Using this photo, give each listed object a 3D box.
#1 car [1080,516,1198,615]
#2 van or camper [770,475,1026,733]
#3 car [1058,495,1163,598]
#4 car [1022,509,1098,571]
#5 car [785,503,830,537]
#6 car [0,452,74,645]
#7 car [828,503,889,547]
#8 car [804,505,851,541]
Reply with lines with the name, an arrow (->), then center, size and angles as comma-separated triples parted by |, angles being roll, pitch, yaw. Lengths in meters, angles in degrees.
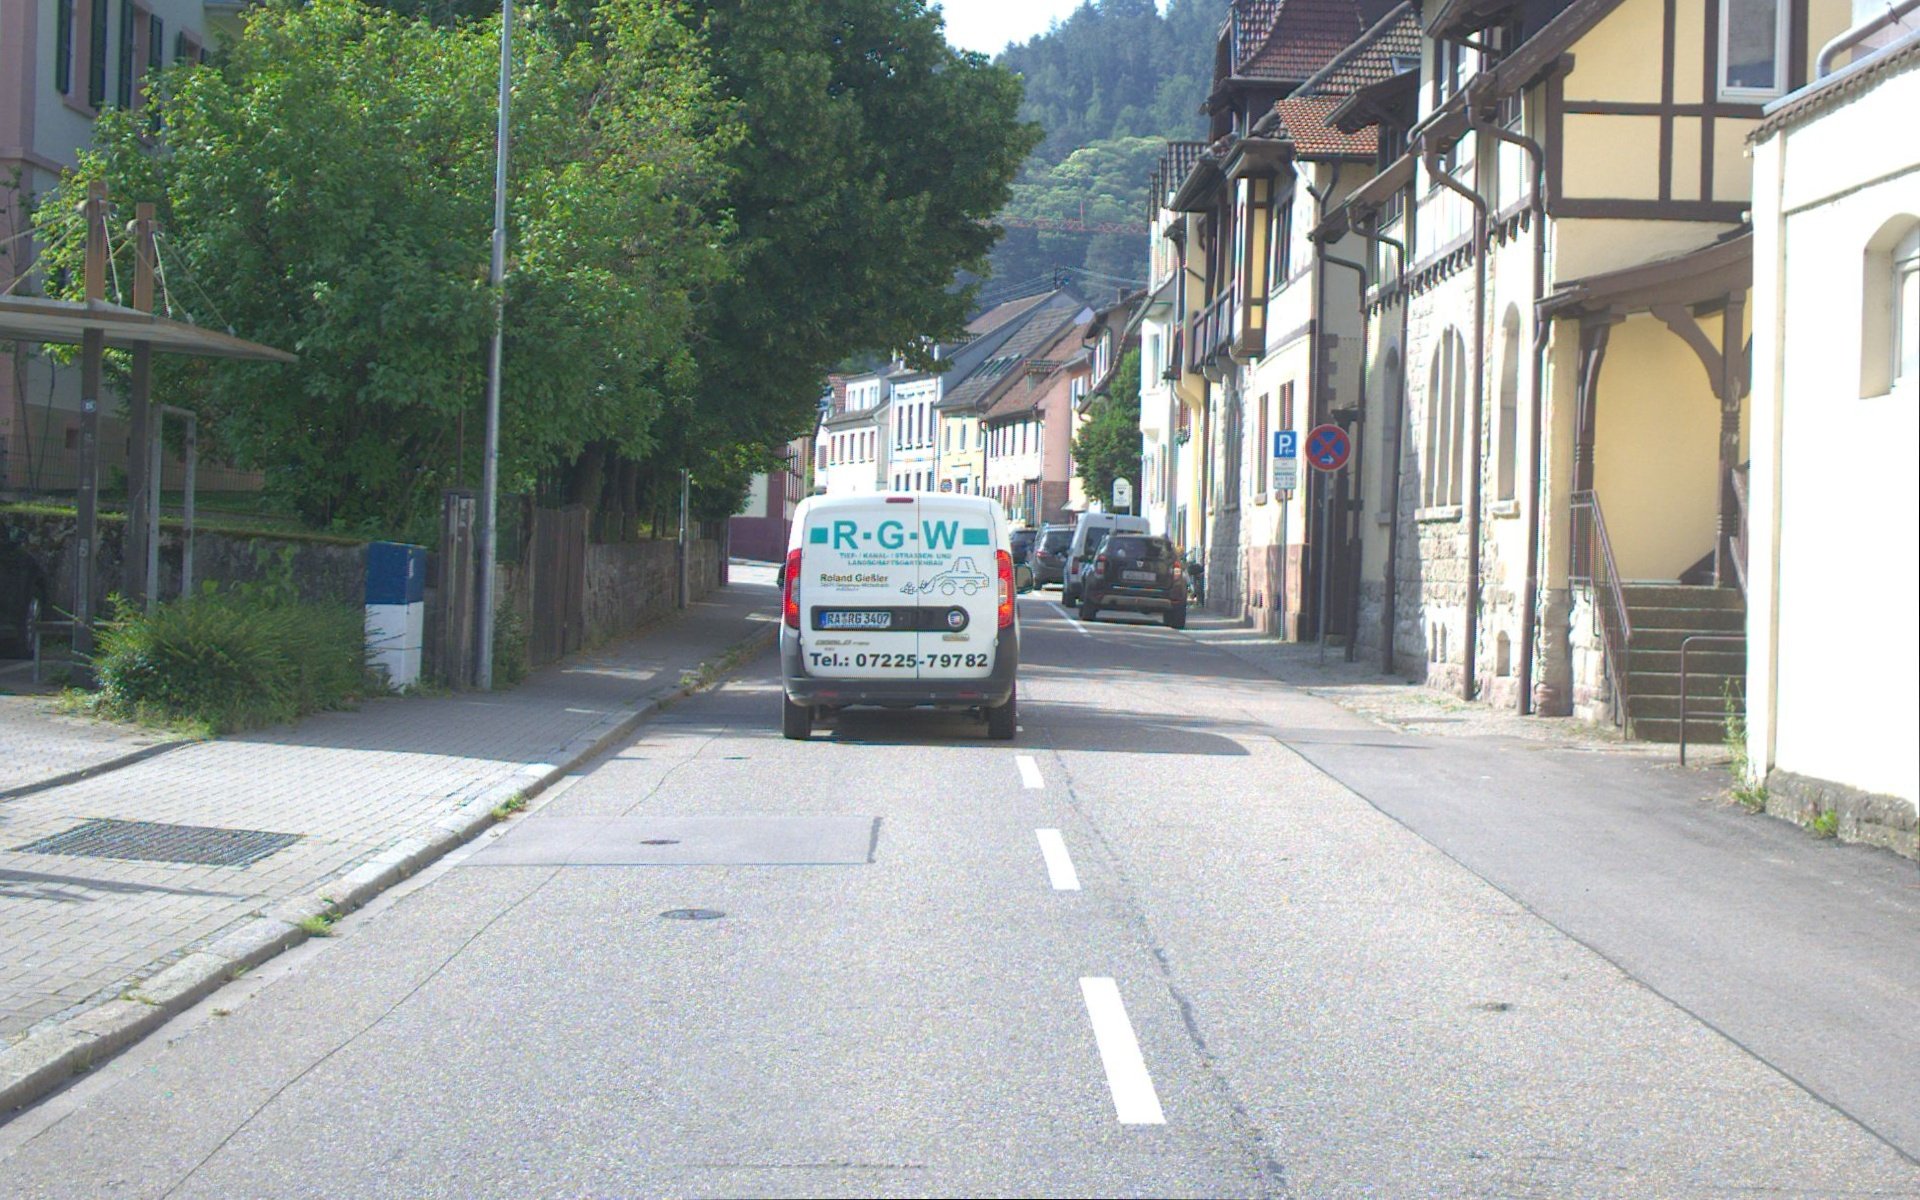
car -> 3.183, -0.649, 61.639 | 1.810, 1.591, 3.927 | 4, 2, 0
van or camper -> -0.494, -0.011, 26.923 | 1.828, 1.838, 4.189 | 1, 1, -1
car -> 3.119, -1.125, 71.881 | 1.871, 2.007, 4.000 | 3, 1, -1
car -> 2.544, -1.544, 88.231 | 1.669, 1.503, 4.001 | 1, 1, -2
car -> -8.315, -4.363, 187.528 | 1.771, 1.792, 4.001 | 2, 1, -12
car -> -8.082, -0.431, 25.887 | 1.615, 1.457, 4.394 | 4, 2, 0
car -> -4.638, -3.444, 156.668 | 1.993, 1.776, 4.002 | 4, 2, -12
car -> -6.981, -4.043, 180.984 | 1.771, 1.792, 4.001 | 2, 1, -12
